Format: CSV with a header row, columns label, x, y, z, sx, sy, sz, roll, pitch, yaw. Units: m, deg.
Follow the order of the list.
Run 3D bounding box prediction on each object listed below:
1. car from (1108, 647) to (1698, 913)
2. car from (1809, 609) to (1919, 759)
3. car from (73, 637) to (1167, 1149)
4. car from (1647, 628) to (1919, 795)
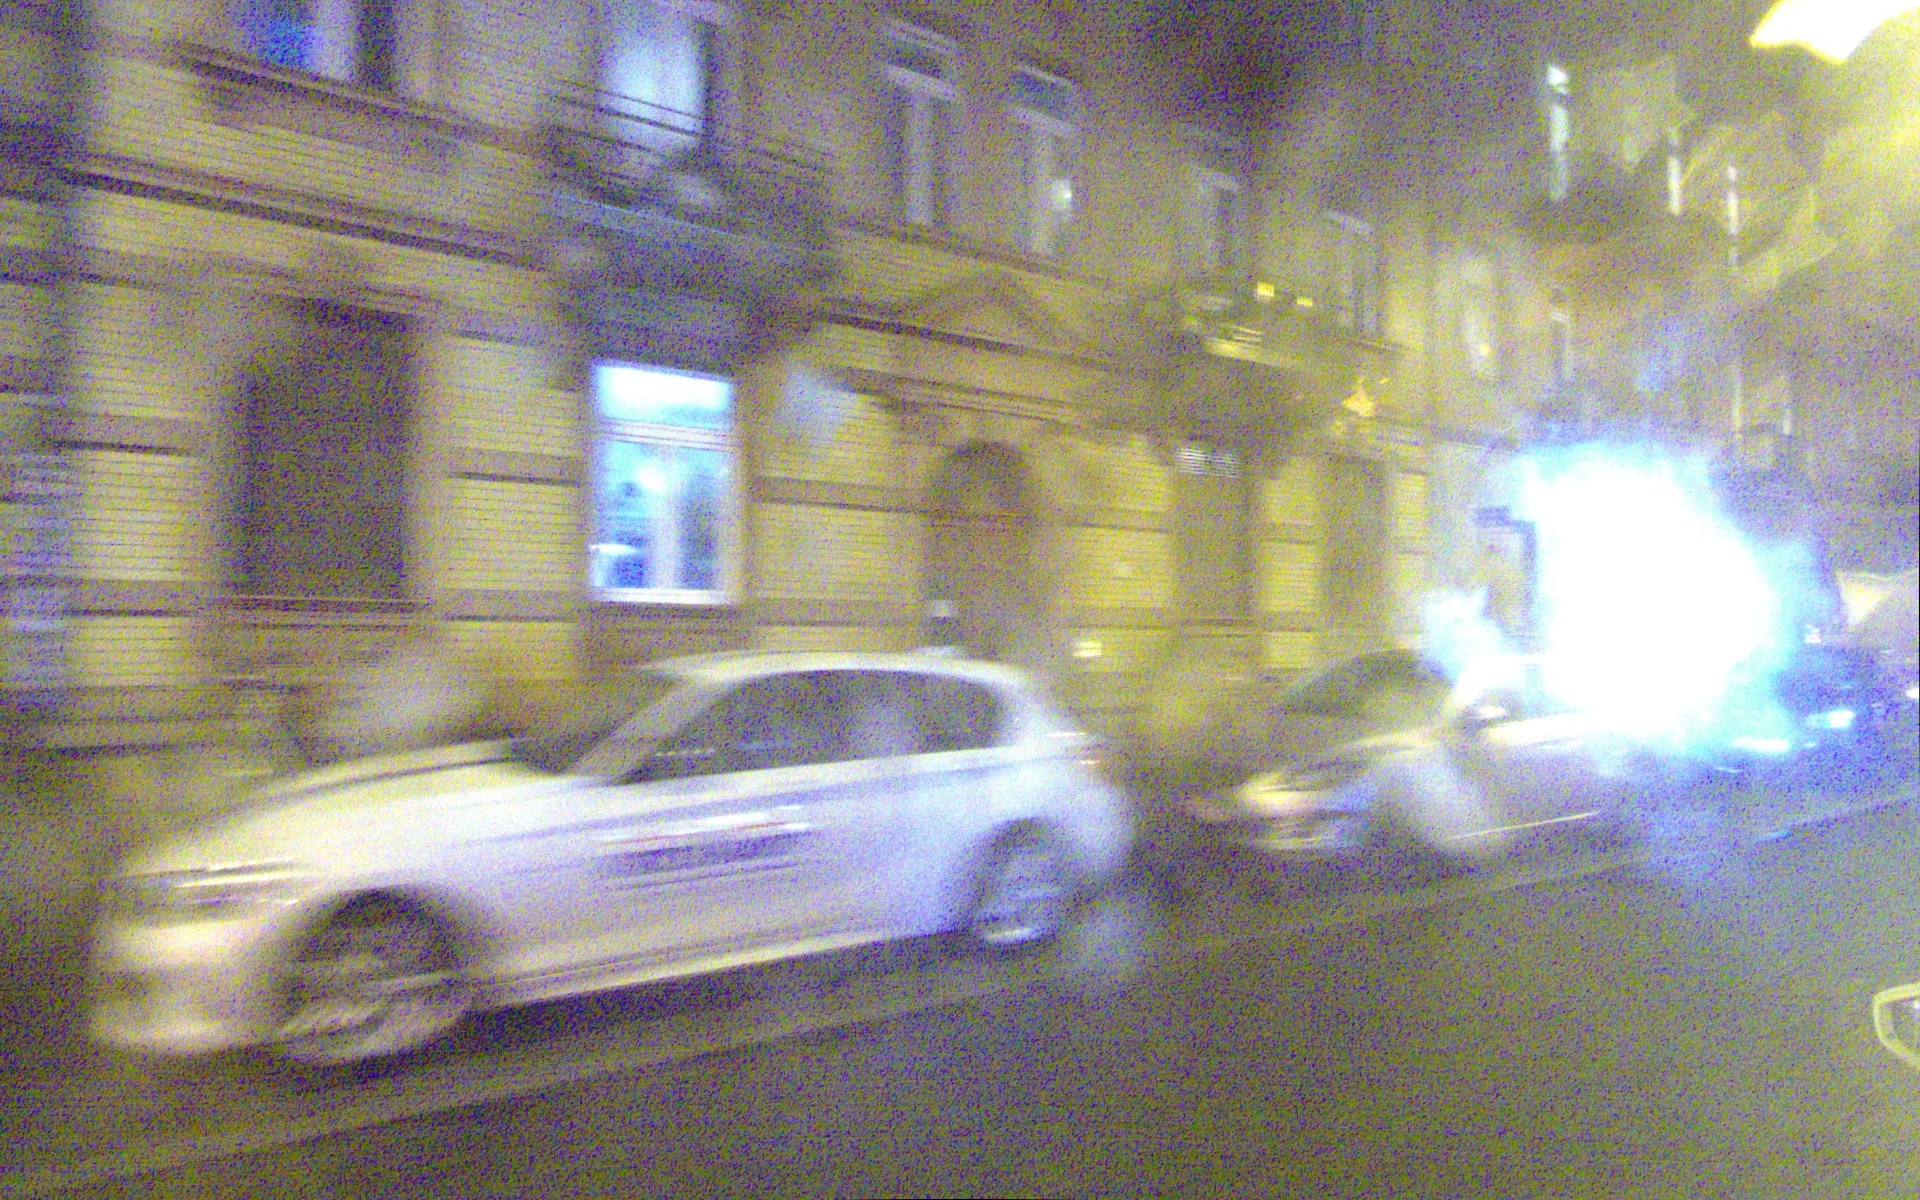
label,x,y,z,sx,sy,sz,roll,pitch,yaw
car,3.400,1.080,7.452,4.501,1.410,1.719,1,-2,-30
car,13.860,1.079,13.782,4.772,1.853,1.894,1,-2,-30
car,-1.193,0.924,4.773,4.222,1.473,1.719,1,-2,-30
car,9.621,1.117,11.308,3.676,1.595,1.719,1,-2,-30
